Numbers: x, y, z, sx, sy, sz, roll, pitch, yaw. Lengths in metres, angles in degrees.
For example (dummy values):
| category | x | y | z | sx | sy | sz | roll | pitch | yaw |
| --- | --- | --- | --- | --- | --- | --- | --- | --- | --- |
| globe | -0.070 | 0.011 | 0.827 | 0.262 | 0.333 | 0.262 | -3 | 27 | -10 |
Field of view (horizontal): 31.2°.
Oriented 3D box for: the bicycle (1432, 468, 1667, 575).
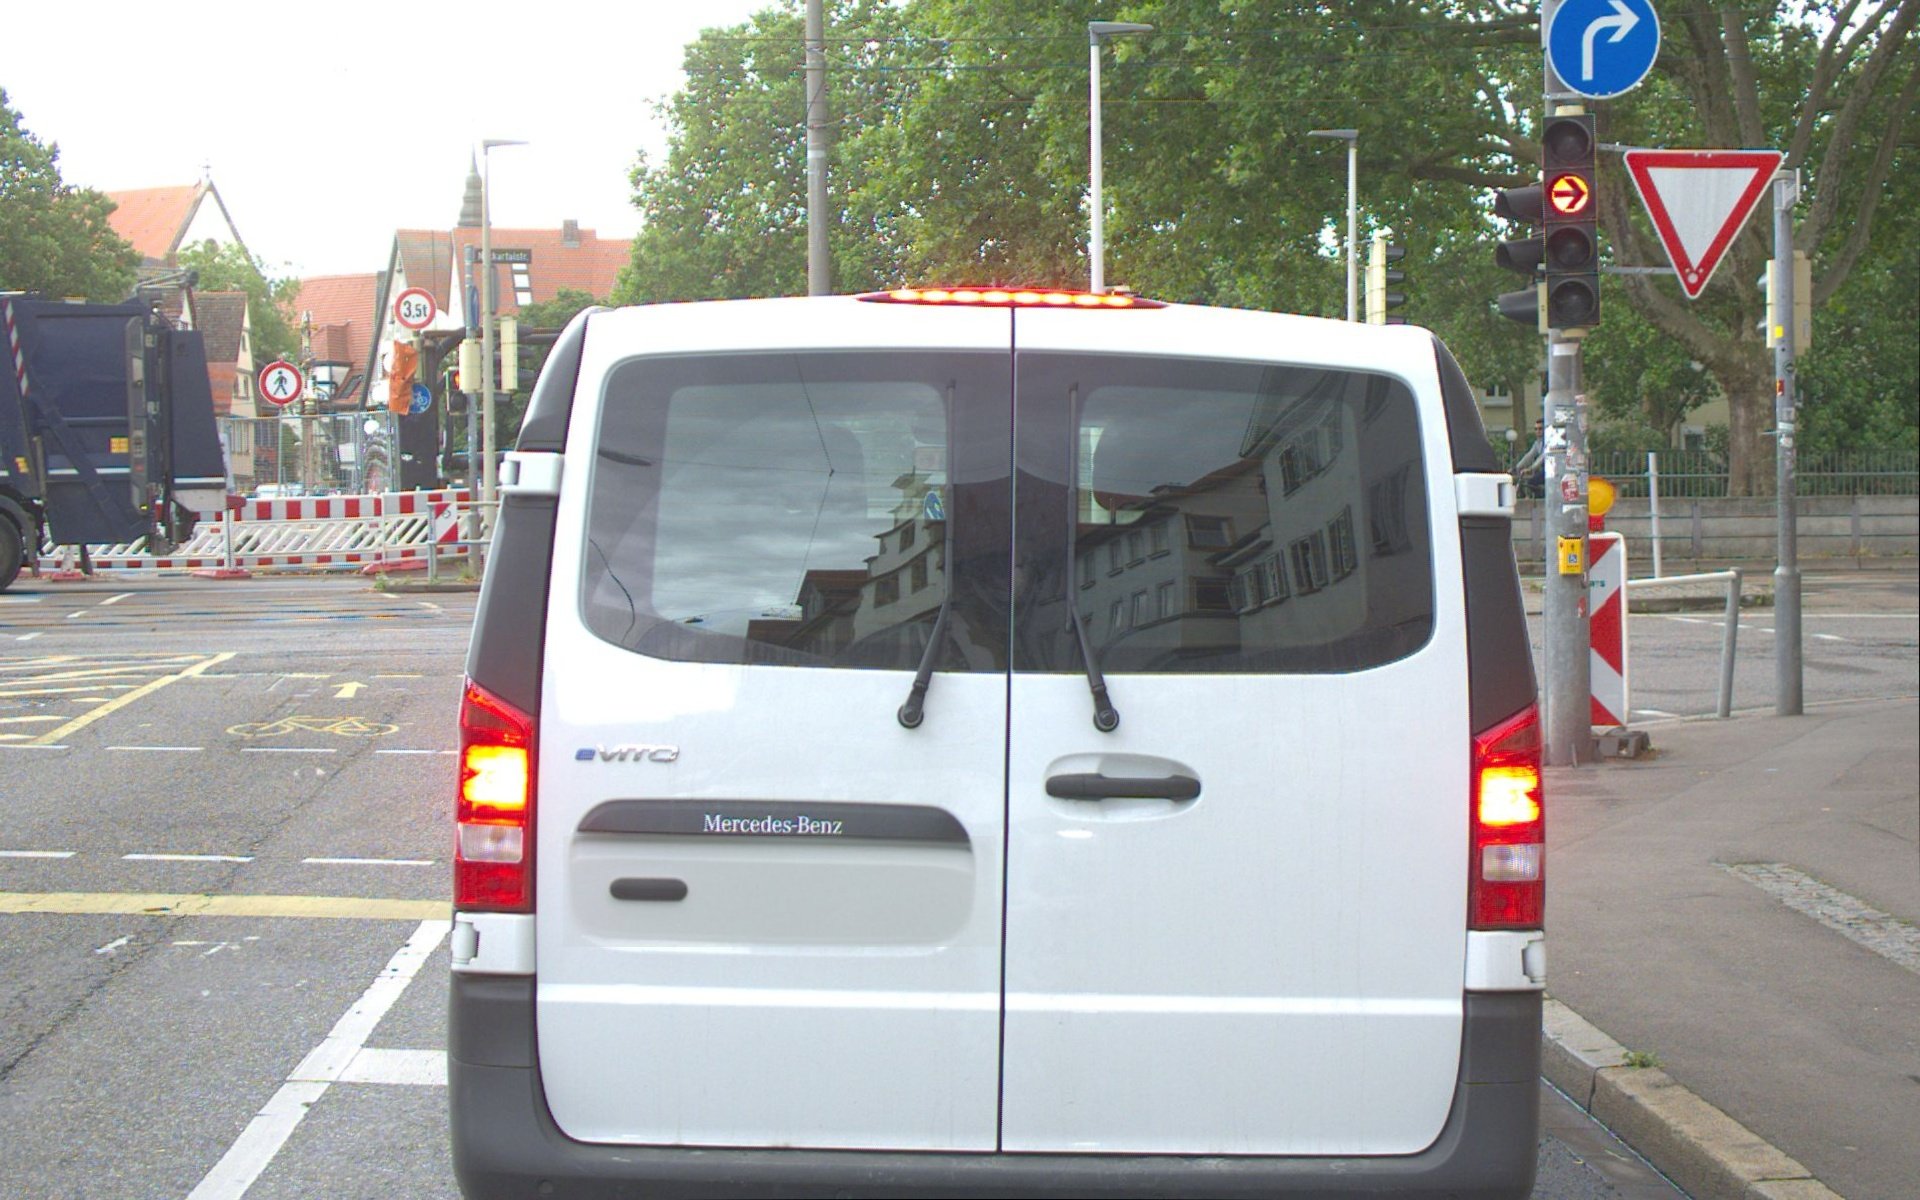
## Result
| category | x | y | z | sx | sy | sz | roll | pitch | yaw |
| --- | --- | --- | --- | --- | --- | --- | --- | --- | --- |
| bicycle | 8.824 | -1.183 | 51.532 | 3.144 | 1.564 | 1.471 | -1 | 1 | -14 |

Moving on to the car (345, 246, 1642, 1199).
| category | x | y | z | sx | sy | sz | roll | pitch | yaw |
| --- | --- | --- | --- | --- | --- | --- | --- | --- | --- |
| car | -0.032 | 0.322 | 7.452 | 1.993 | 1.916 | 4.250 | 1 | 3 | -2 |

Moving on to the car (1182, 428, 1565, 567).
| category | x | y | z | sx | sy | sz | roll | pitch | yaw |
| --- | --- | --- | --- | --- | --- | --- | --- | --- | --- |
| car | 5.322 | -1.323 | 44.535 | 4.518 | 1.628 | 2.001 | -2 | 1 | -9 |

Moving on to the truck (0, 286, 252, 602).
| category | x | y | z | sx | sy | sz | roll | pitch | yaw |
| --- | --- | --- | --- | --- | --- | --- | --- | --- | --- |
| truck | -13.640 | -1.825 | 40.697 | 10.182 | 3.683 | 2.272 | 0 | 1 | -15 |

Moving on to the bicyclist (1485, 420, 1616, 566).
| category | x | y | z | sx | sy | sz | roll | pitch | yaw |
| --- | --- | --- | --- | --- | --- | --- | --- | --- | --- |
| bicyclist | 8.845 | -1.599 | 51.542 | 1.563 | 2.148 | 1.248 | -1 | 1 | -14 |

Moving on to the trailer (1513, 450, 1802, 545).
| category | x | y | z | sx | sy | sz | roll | pitch | yaw |
| --- | --- | --- | --- | --- | --- | --- | --- | --- | --- |
| trailer | 9.125 | -1.344 | 45.133 | 3.200 | 1.154 | 2.001 | -1 | 1 | -10 |
